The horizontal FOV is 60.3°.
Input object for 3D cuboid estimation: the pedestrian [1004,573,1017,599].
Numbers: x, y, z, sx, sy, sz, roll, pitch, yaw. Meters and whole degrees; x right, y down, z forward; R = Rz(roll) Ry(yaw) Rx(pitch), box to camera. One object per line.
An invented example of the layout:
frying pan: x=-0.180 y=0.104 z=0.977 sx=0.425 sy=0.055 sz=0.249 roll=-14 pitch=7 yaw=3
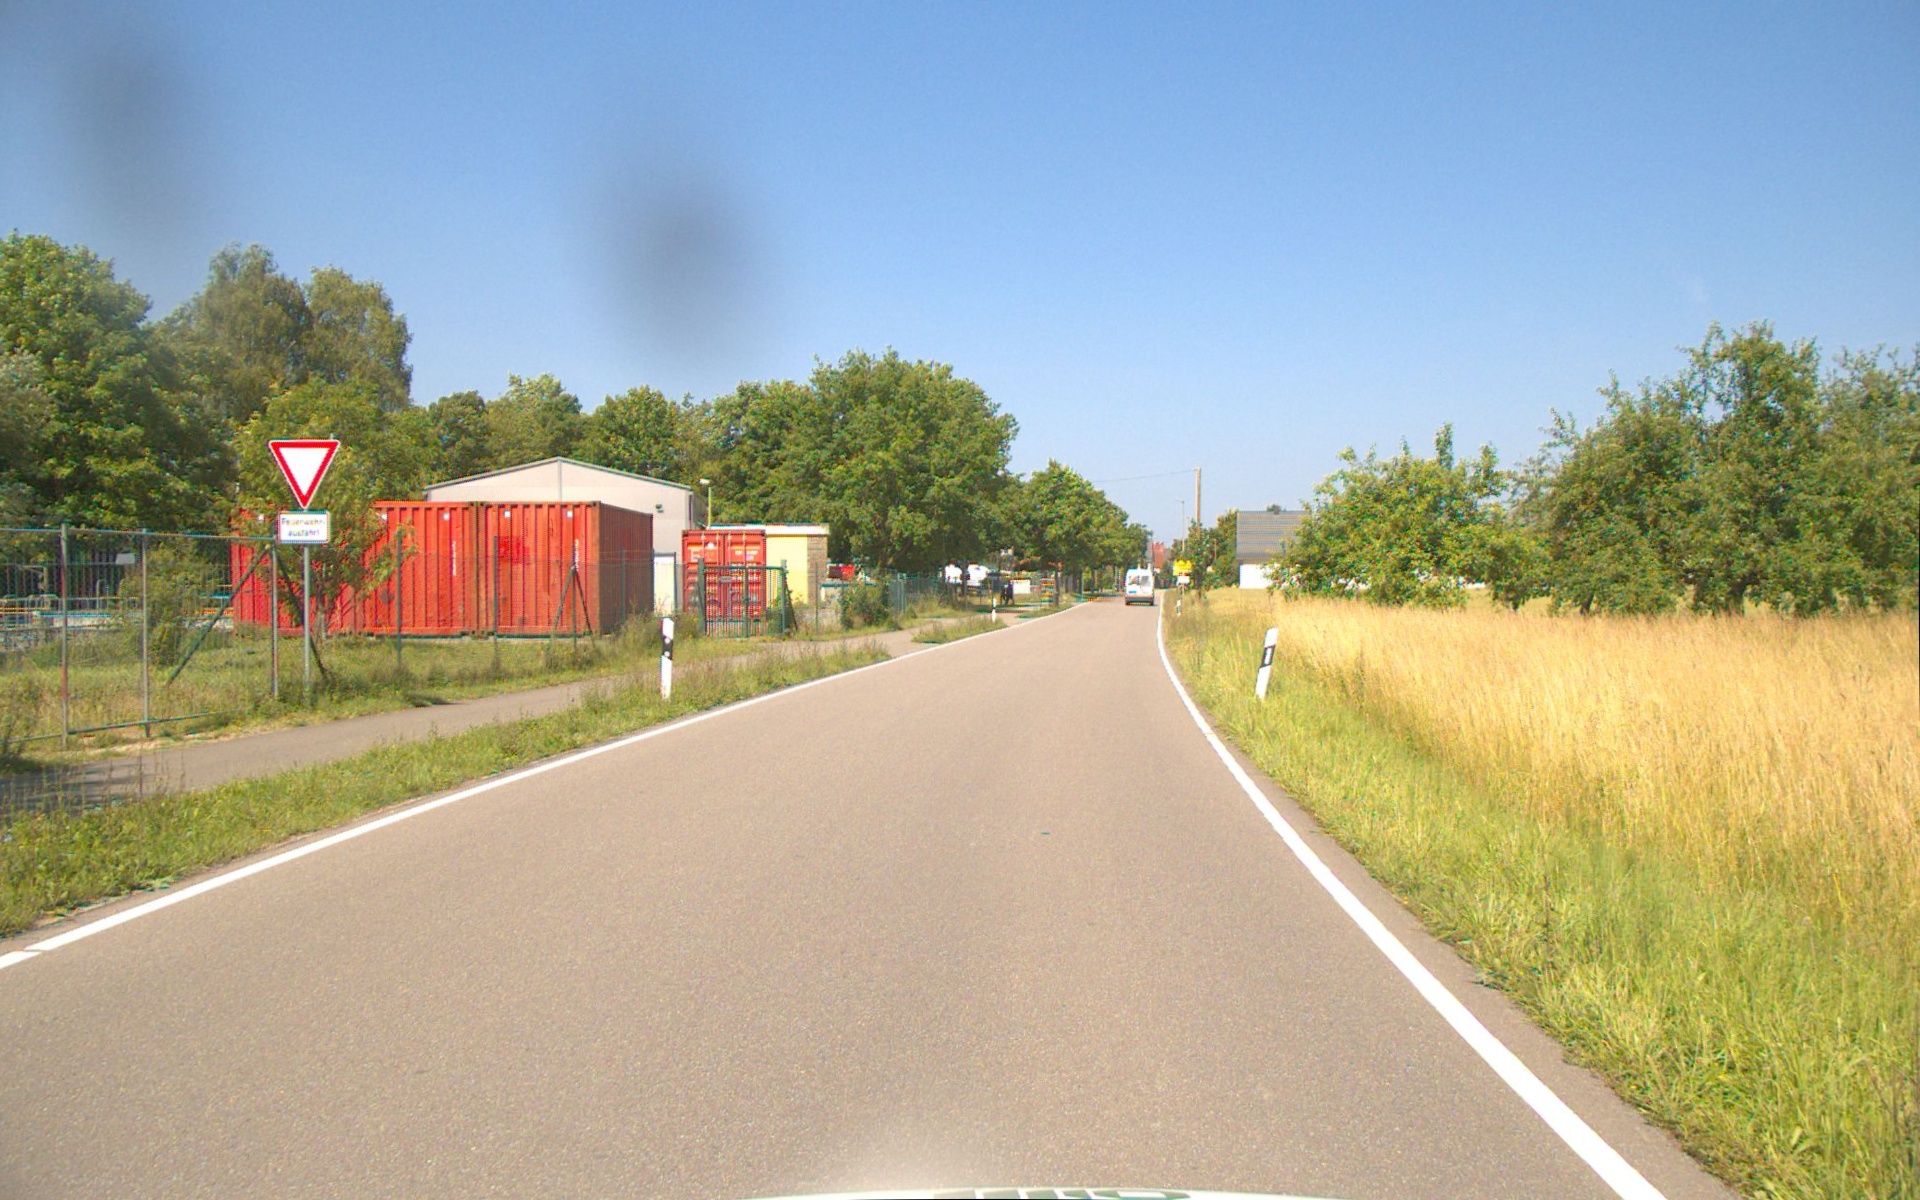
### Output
pedestrian: x=3.628 y=-0.989 z=118.568 sx=0.706 sy=1.834 sz=0.709 roll=-1 pitch=1 yaw=29

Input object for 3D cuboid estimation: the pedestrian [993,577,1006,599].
pedestrian: x=2.835 y=-0.844 z=117.868 sx=0.664 sy=1.593 sz=0.718 roll=-1 pitch=1 yaw=29

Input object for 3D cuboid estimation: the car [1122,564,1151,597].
car: x=12.516 y=-1.380 z=117.264 sx=1.951 sy=2.305 sz=4.730 roll=-1 pitch=1 yaw=7

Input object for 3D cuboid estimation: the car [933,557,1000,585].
car: x=0.561 y=-2.433 z=139.332 sx=5.541 sy=2.305 sz=1.978 roll=-1 pitch=1 yaw=-32
